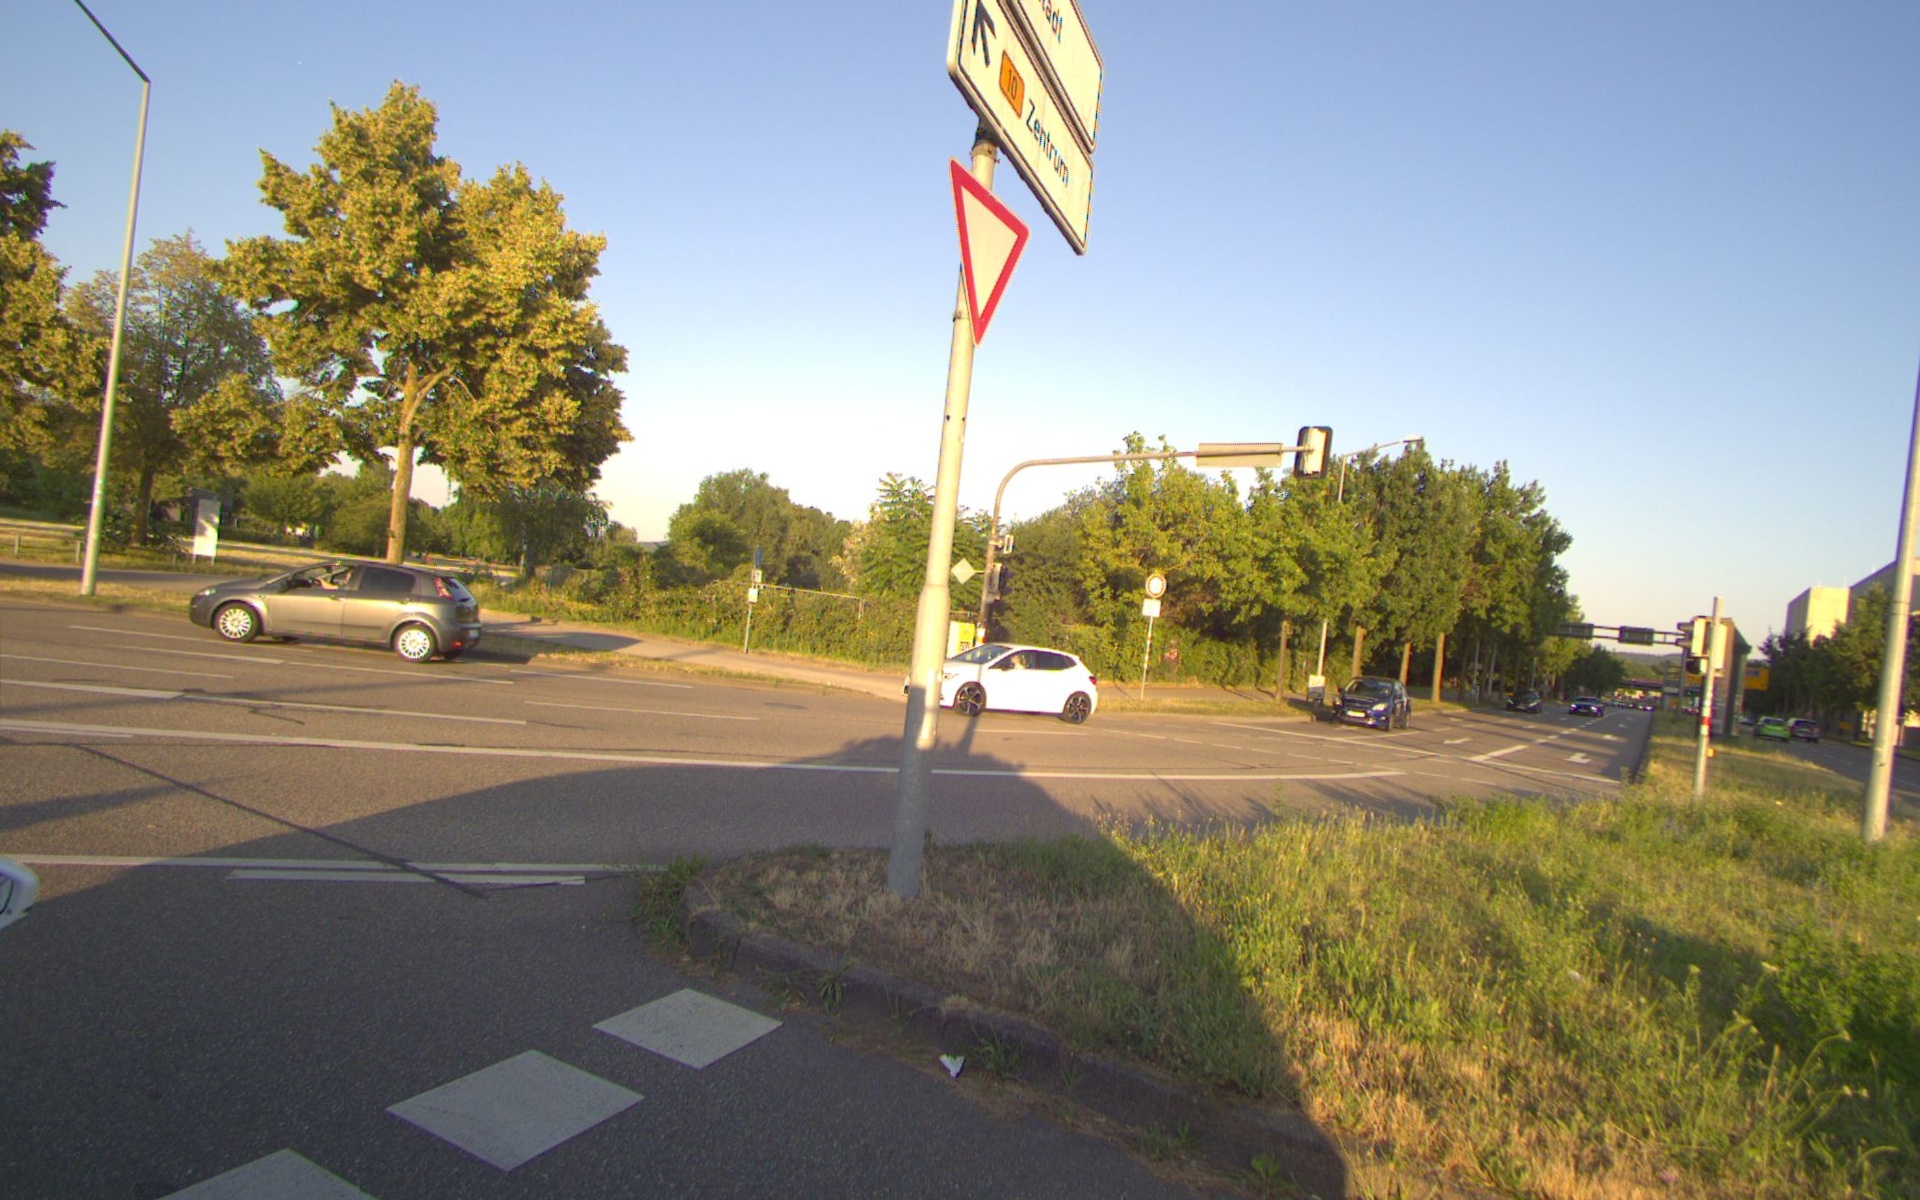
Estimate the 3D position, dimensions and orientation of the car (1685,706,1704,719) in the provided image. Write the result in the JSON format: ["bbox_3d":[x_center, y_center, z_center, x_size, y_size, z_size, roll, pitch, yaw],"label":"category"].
[{"bbox_3d":[109.385,16.778,149.867,1.968,1.648,3.991,7,-1,34],"label":"car"}]

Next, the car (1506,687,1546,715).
[{"bbox_3d":[37.998,6.787,67.505,1.967,1.523,4.611,7,-1,33],"label":"car"}]

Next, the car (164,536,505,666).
[{"bbox_3d":[-9.781,0.053,16.080,4.094,1.471,1.865,7,-1,-11],"label":"car"}]

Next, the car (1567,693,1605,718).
[{"bbox_3d":[45.451,7.644,73.003,1.969,1.523,4.758,7,-1,35],"label":"car"}]

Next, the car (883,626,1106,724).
[{"bbox_3d":[0.713,1.494,19.853,3.930,1.471,1.853,7,-1,-32],"label":"car"}]

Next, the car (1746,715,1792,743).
[{"bbox_3d":[53.476,8.520,66.558,1.661,1.437,3.993,7,-1,31],"label":"car"}]

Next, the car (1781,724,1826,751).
[{"bbox_3d":[62.237,10.110,74.309,1.705,1.596,4.322,7,-1,31],"label":"car"}]

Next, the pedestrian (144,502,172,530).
[{"bbox_3d":[-51.837,-5.421,65.045,0.896,1.637,1.070,7,0,34],"label":"pedestrian"}]

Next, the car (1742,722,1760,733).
[{"bbox_3d":[127.158,20.475,161.773,1.969,1.444,4.187,6,-1,35],"label":"car"}]

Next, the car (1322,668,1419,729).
[{"bbox_3d":[13.105,3.141,31.996,1.886,1.602,4.169,5,-2,35],"label":"car"}]

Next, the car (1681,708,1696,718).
[{"bbox_3d":[135.393,20.973,186.969,1.968,1.648,3.990,7,-1,34],"label":"car"}]

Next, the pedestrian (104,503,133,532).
[{"bbox_3d":[-53.250,-5.192,63.672,0.896,1.637,1.070,7,0,34],"label":"pedestrian"}]
